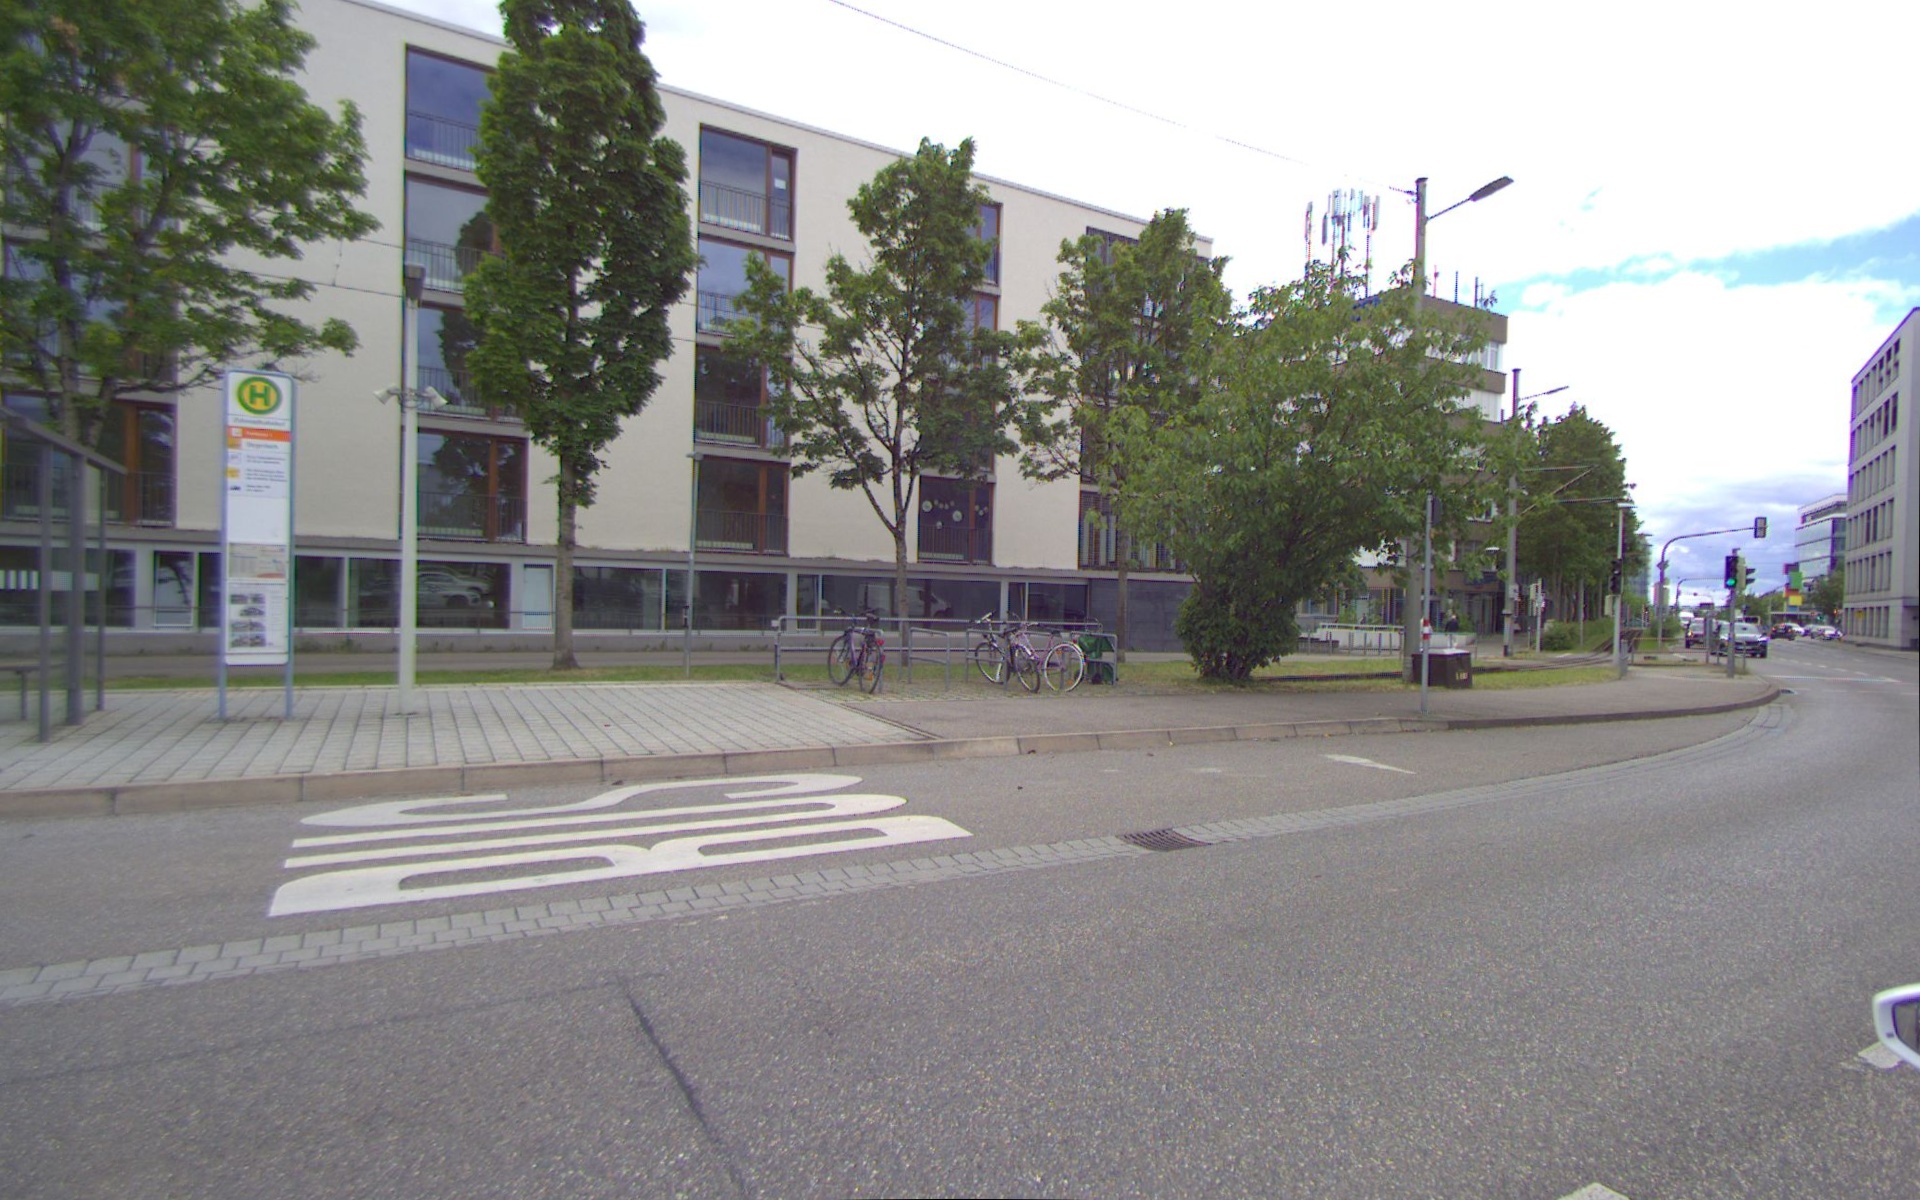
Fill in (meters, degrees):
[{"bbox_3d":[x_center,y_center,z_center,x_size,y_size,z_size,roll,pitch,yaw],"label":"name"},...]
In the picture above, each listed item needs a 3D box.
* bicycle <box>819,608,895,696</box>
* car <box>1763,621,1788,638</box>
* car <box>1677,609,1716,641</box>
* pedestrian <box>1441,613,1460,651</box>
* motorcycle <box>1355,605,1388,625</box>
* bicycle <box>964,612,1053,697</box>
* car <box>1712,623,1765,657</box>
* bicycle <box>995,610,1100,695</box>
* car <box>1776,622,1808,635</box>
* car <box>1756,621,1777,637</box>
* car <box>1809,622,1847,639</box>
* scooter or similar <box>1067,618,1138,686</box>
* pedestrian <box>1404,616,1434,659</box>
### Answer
[{"bbox_3d":[-1.414,0.671,13.593,0.391,1.039,1.680,1,2,-28],"label":"bicycle"},{"bbox_3d":[81.286,2.908,100.137,1.737,1.630,4.171,2,0,38],"label":"car"},{"bbox_3d":[44.392,1.499,60.587,1.658,1.832,4.340,-1,-2,33],"label":"car"},{"bbox_3d":[22.207,1.449,45.489,0.679,1.728,0.680,0,-1,37],"label":"pedestrian"},{"bbox_3d":[26.013,0.969,63.547,0.564,1.215,1.862,1,0,-41],"label":"motorcycle"},{"bbox_3d":[0.666,0.750,14.419,0.403,1.060,1.741,1,2,-28],"label":"bicycle"},{"bbox_3d":[35.854,1.813,46.327,1.745,1.498,3.987,-1,-2,35],"label":"car"},{"bbox_3d":[1.272,0.749,14.894,0.405,1.103,1.689,1,2,-42],"label":"bicycle"},{"bbox_3d":[99.204,3.379,119.772,1.962,1.522,3.997,1,0,25],"label":"car"},{"bbox_3d":[92.004,3.291,114.572,1.737,1.630,4.171,2,0,38],"label":"car"},{"bbox_3d":[94.908,3.302,109.825,1.961,1.726,3.998,1,0,23],"label":"car"},{"bbox_3d":[2.249,0.805,15.845,0.767,1.023,0.781,1,0,-38],"label":"scooter or similar"},{"bbox_3d":[16.604,1.353,36.341,0.836,1.547,0.993,0,-1,33],"label":"pedestrian"}]
